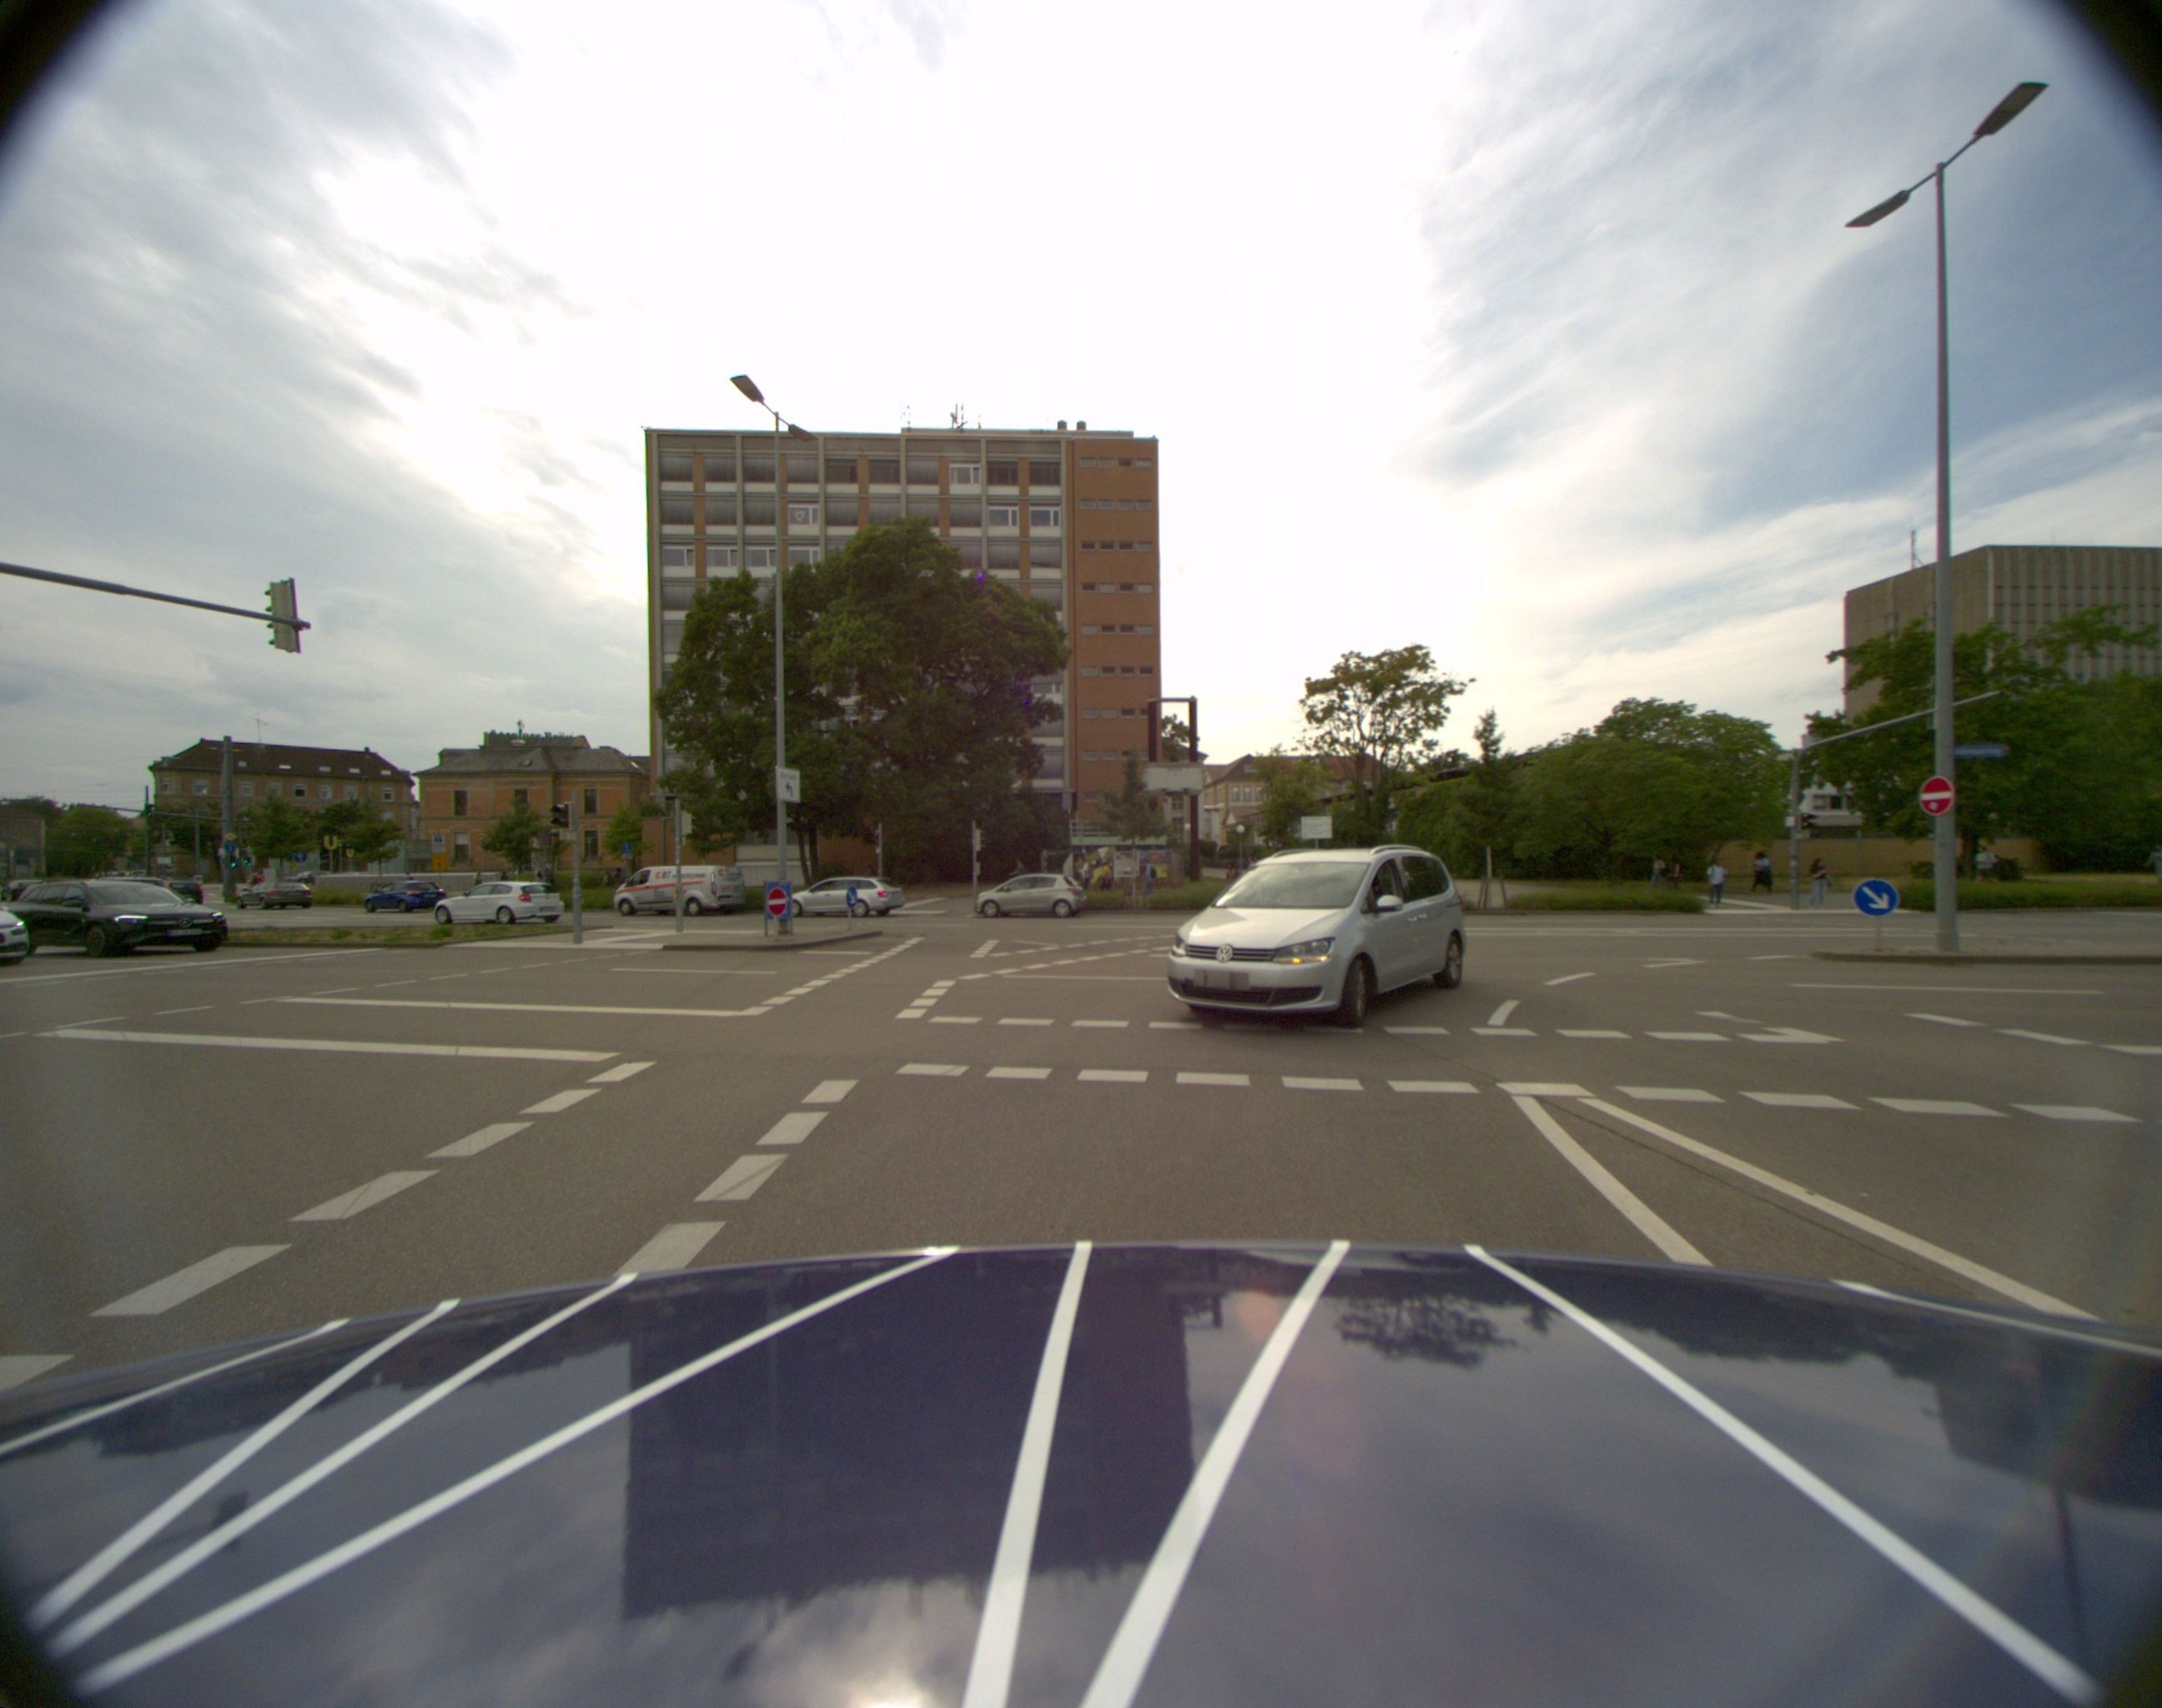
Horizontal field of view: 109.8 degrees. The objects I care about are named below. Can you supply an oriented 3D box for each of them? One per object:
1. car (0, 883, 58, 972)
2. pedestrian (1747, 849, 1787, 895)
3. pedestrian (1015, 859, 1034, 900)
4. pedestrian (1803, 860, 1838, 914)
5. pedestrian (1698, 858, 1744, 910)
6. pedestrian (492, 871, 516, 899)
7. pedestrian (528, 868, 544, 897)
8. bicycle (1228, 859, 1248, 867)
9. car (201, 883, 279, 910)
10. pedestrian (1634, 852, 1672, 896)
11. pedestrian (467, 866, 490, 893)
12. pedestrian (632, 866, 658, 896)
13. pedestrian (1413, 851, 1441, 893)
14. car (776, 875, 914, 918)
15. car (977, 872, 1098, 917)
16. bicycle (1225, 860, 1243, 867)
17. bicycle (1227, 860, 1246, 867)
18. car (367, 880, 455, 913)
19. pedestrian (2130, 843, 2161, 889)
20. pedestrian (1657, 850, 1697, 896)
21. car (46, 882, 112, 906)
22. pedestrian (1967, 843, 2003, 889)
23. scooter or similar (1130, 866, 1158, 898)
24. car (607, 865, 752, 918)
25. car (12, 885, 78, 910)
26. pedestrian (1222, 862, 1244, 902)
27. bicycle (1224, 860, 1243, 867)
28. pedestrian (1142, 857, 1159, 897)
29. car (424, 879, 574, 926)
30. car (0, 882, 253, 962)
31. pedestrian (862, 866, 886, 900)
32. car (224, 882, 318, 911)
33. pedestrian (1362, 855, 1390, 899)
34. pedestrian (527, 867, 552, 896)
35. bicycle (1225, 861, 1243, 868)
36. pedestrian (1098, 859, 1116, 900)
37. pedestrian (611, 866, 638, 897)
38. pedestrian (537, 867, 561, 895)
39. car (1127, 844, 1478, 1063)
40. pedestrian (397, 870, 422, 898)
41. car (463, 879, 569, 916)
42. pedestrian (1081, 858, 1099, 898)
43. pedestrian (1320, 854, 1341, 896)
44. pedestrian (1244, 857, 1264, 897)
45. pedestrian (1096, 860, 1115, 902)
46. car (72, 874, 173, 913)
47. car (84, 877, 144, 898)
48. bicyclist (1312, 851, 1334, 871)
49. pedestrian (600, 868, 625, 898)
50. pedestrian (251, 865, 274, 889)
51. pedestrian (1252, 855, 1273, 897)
[{"bbox_3d":[-22.298,1.423,14.441,4.282,1.641,2.003,-2,-2,16],"label":"car"},{"bbox_3d":[26.193,0.691,29.023,0.799,1.700,0.715,-1,-1,-2],"label":"pedestrian"},{"bbox_3d":[-2.524,1.140,34.170,0.707,1.842,0.640,-1,1,5],"label":"pedestrian"},{"bbox_3d":[23.870,1.054,24.524,0.587,1.700,0.481,-1,-1,7],"label":"pedestrian"},{"bbox_3d":[21.461,0.990,25.482,0.838,1.700,0.800,-1,-1,7],"label":"pedestrian"},{"bbox_3d":[-32.939,1.774,43.383,0.810,1.565,0.781,0,2,28],"label":"pedestrian"},{"bbox_3d":[-30.038,1.568,41.878,0.550,1.528,0.548,-2,2,-18],"label":"pedestrian"},{"bbox_3d":[15.378,0.870,74.333,1.842,0.689,0.668,-1,-2,10],"label":"bicycle"},{"bbox_3d":[-46.626,2.364,42.125,3.692,1.411,1.712,-2,-2,22],"label":"car"},{"bbox_3d":[22.467,0.774,29.843,0.800,1.700,0.839,-1,-1,-13],"label":"pedestrian"},{"bbox_3d":[-36.755,1.543,46.322,0.810,1.565,0.781,0,2,28],"label":"pedestrian"},{"bbox_3d":[-23.222,1.444,40.471,0.810,1.565,0.781,-1,2,24],"label":"pedestrian"},{"bbox_3d":[14.396,0.752,31.635,0.799,1.700,0.840,-1,-1,5],"label":"pedestrian"},{"bbox_3d":[-8.643,1.540,27.929,4.520,1.465,1.827,-1,-2,12],"label":"car"},{"bbox_3d":[-1.477,1.394,26.347,3.869,1.480,1.674,-2,-2,13],"label":"car"},{"bbox_3d":[15.583,0.984,77.404,1.842,0.689,0.653,-1,-2,10],"label":"bicycle"},{"bbox_3d":[15.527,0.937,75.931,1.842,0.689,0.653,-1,-2,10],"label":"bicycle"},{"bbox_3d":[-31.514,2.004,35.762,3.626,1.498,1.674,-2,-2,22],"label":"car"},{"bbox_3d":[40.295,0.453,28.486,0.694,1.700,0.842,-1,-1,-2],"label":"pedestrian"},{"bbox_3d":[22.708,0.730,28.975,0.800,1.700,0.839,-1,-1,-13],"label":"pedestrian"},{"bbox_3d":[-60.575,2.426,45.928,3.990,1.411,1.720,-2,-2,27],"label":"car"},{"bbox_3d":[34.106,0.447,28.674,0.694,1.687,0.544,-1,2,-2],"label":"pedestrian"},{"bbox_3d":[2.804,1.250,33.943,1.148,1.362,0.399,-1,-1,-8],"label":"scooter or similar"},{"bbox_3d":[-15.883,1.486,30.093,5.195,1.947,1.828,-2,-2,15],"label":"car"},{"bbox_3d":[-71.301,2.991,52.292,3.538,1.605,1.844,-2,-2,21],"label":"car"},{"bbox_3d":[6.198,1.134,31.035,0.799,1.534,0.839,-1,3,5],"label":"pedestrian"},{"bbox_3d":[15.873,1.033,79.079,1.842,0.689,0.653,-1,-2,10],"label":"bicycle"},{"bbox_3d":[3.001,1.002,32.973,0.707,1.701,0.640,-1,2,5],"label":"pedestrian"},{"bbox_3d":[-19.387,1.609,25.340,4.215,1.449,1.763,-2,-2,15],"label":"car"},{"bbox_3d":[-21.636,1.496,17.264,4.503,1.641,2.003,-2,-2,16],"label":"car"},{"bbox_3d":[-9.816,1.363,36.093,0.811,1.565,0.780,-1,2,5],"label":"pedestrian"},{"bbox_3d":[-42.209,2.195,39.620,3.692,1.411,2.143,-2,-2,22],"label":"car"},{"bbox_3d":[11.876,0.922,30.573,0.799,1.700,0.840,-1,-1,5],"label":"pedestrian"},{"bbox_3d":[-29.948,1.515,42.047,0.810,1.565,0.781,0,2,28],"label":"pedestrian"},{"bbox_3d":[16.242,1.086,80.898,1.842,0.689,0.653,-1,-2,10],"label":"bicycle"},{"bbox_3d":[1.093,1.095,32.327,0.707,1.700,0.640,-1,-1,5],"label":"pedestrian"},{"bbox_3d":[-23.641,1.415,39.358,0.810,1.565,0.781,-1,2,24],"label":"pedestrian"},{"bbox_3d":[-30.297,1.545,43.274,0.810,1.565,0.781,0,2,28],"label":"pedestrian"},{"bbox_3d":[2.654,0.840,8.289,1.820,1.723,4.538,-3,-2,42],"label":"car"},{"bbox_3d":[-38.809,1.718,43.902,0.810,1.565,0.781,0,2,28],"label":"pedestrian"},{"bbox_3d":[-24.710,1.913,33.220,3.993,1.523,1.867,-2,-2,21],"label":"car"},{"bbox_3d":[0.401,1.056,33.577,0.707,1.701,0.640,-1,0,5],"label":"pedestrian"},{"bbox_3d":[10.373,0.866,31.595,0.633,1.700,0.674,-1,-1,5],"label":"pedestrian"},{"bbox_3d":[7.352,0.974,32.331,0.707,1.700,0.640,-1,-1,5],"label":"pedestrian"},{"bbox_3d":[1.014,1.121,31.592,0.707,1.701,0.640,-1,1,5],"label":"pedestrian"},{"bbox_3d":[-42.961,1.765,34.055,4.674,1.640,1.764,-2,-2,25],"label":"car"},{"bbox_3d":[-71.071,2.466,55.837,3.692,1.411,1.712,-2,-2,22],"label":"car"},{"bbox_3d":[15.590,0.453,48.870,0.841,1.269,1.010,0,-2,-34],"label":"bicyclist"},{"bbox_3d":[-25.212,1.545,40.920,0.810,1.565,0.781,0,2,28],"label":"pedestrian"},{"bbox_3d":[-53.909,1.508,50.026,0.810,1.565,0.781,0,2,28],"label":"pedestrian"},{"bbox_3d":[7.538,0.928,31.615,0.707,1.700,0.640,-1,-1,5],"label":"pedestrian"}]
